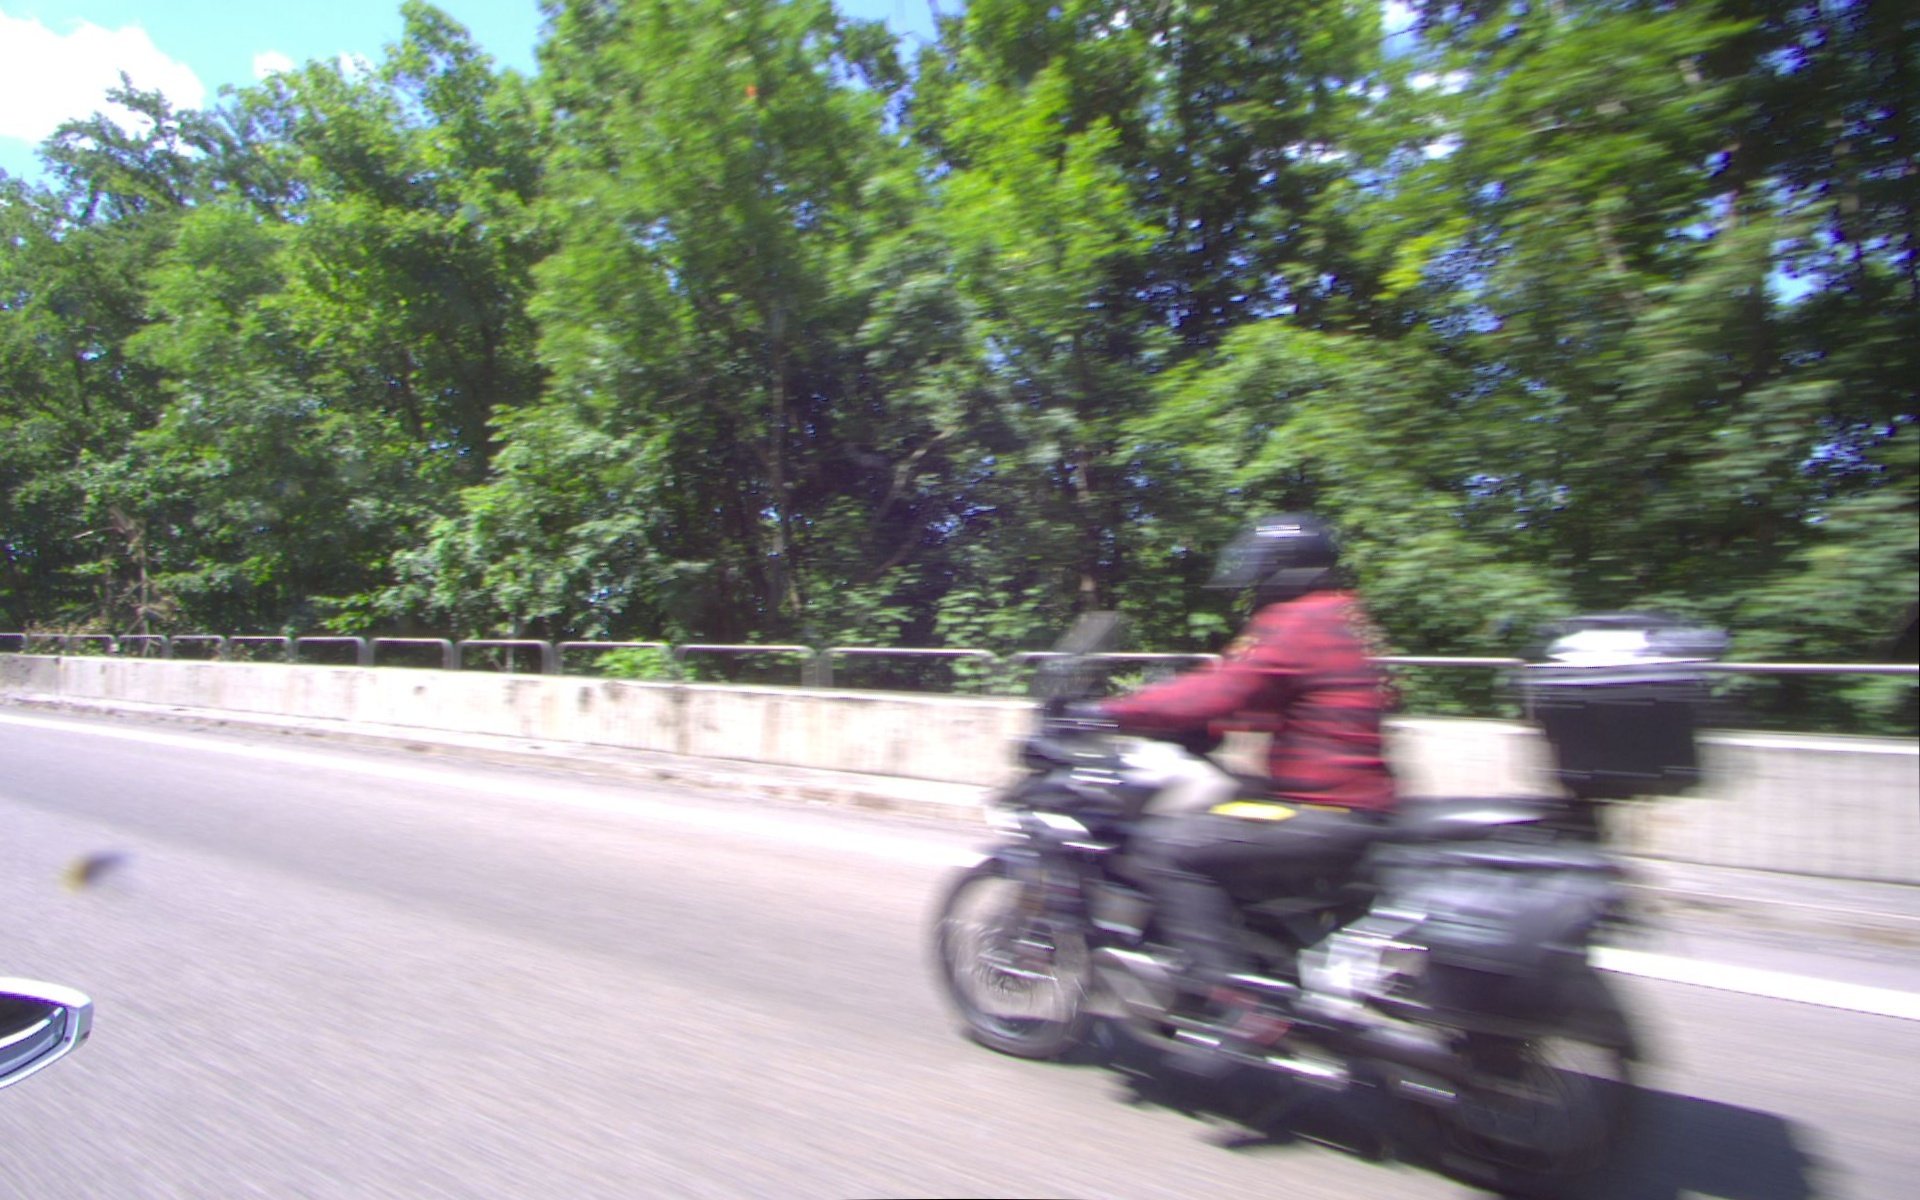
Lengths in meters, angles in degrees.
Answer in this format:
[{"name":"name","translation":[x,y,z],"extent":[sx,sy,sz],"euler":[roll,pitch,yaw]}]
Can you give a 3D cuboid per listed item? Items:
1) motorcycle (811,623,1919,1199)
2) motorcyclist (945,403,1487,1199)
[{"name":"motorcycle","translation":[0.891,0.796,2.949],"extent":[2.643,1.438,0.971],"euler":[-1,-2,33]},{"name":"motorcyclist","translation":[0.797,0.503,2.992],"extent":[1.319,1.823,1.059],"euler":[0,-1,32]}]
